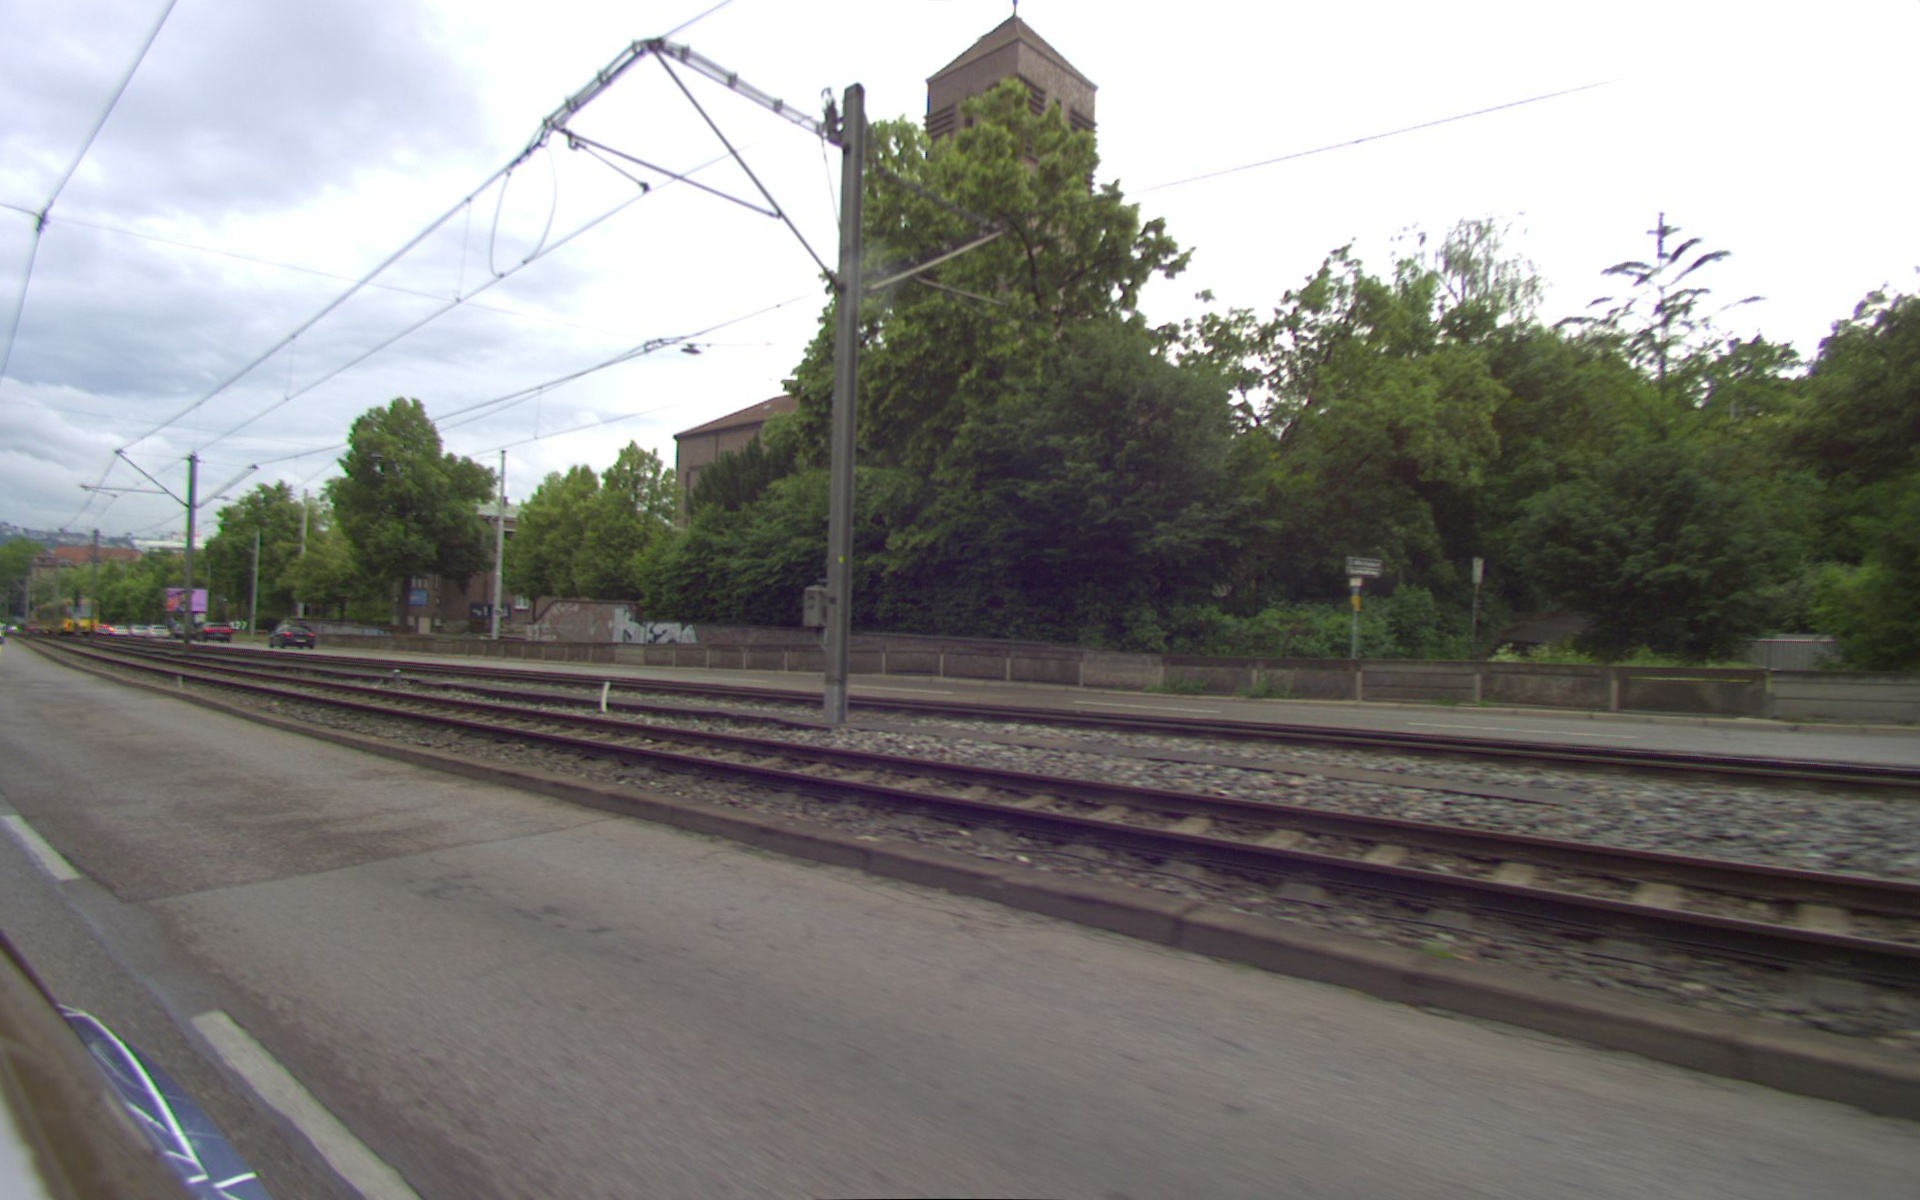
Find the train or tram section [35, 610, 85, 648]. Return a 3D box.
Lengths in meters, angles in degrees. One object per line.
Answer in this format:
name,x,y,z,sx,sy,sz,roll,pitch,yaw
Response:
train or tram section,-103.842,3.380,116.629,20.034,4.006,2.796,-2,-3,44

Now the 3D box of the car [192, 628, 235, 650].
car,-60.187,3.135,81.611,4.525,1.656,1.971,-2,-4,44

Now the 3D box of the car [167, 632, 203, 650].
car,-71.761,3.789,93.671,4.412,1.656,1.971,-2,-4,44

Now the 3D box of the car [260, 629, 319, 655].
car,-40.817,2.558,61.610,4.321,1.452,1.944,-1,-4,42

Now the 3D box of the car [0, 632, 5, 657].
car,-60.906,2.781,63.135,1.743,1.523,4.346,2,-3,-41

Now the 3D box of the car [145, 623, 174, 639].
car,-83.953,3.269,106.075,3.985,1.479,1.727,-2,-6,43

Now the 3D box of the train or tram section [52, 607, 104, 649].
train or tram section,-90.488,2.933,103.682,2.796,4.006,17.885,2,-3,-45
